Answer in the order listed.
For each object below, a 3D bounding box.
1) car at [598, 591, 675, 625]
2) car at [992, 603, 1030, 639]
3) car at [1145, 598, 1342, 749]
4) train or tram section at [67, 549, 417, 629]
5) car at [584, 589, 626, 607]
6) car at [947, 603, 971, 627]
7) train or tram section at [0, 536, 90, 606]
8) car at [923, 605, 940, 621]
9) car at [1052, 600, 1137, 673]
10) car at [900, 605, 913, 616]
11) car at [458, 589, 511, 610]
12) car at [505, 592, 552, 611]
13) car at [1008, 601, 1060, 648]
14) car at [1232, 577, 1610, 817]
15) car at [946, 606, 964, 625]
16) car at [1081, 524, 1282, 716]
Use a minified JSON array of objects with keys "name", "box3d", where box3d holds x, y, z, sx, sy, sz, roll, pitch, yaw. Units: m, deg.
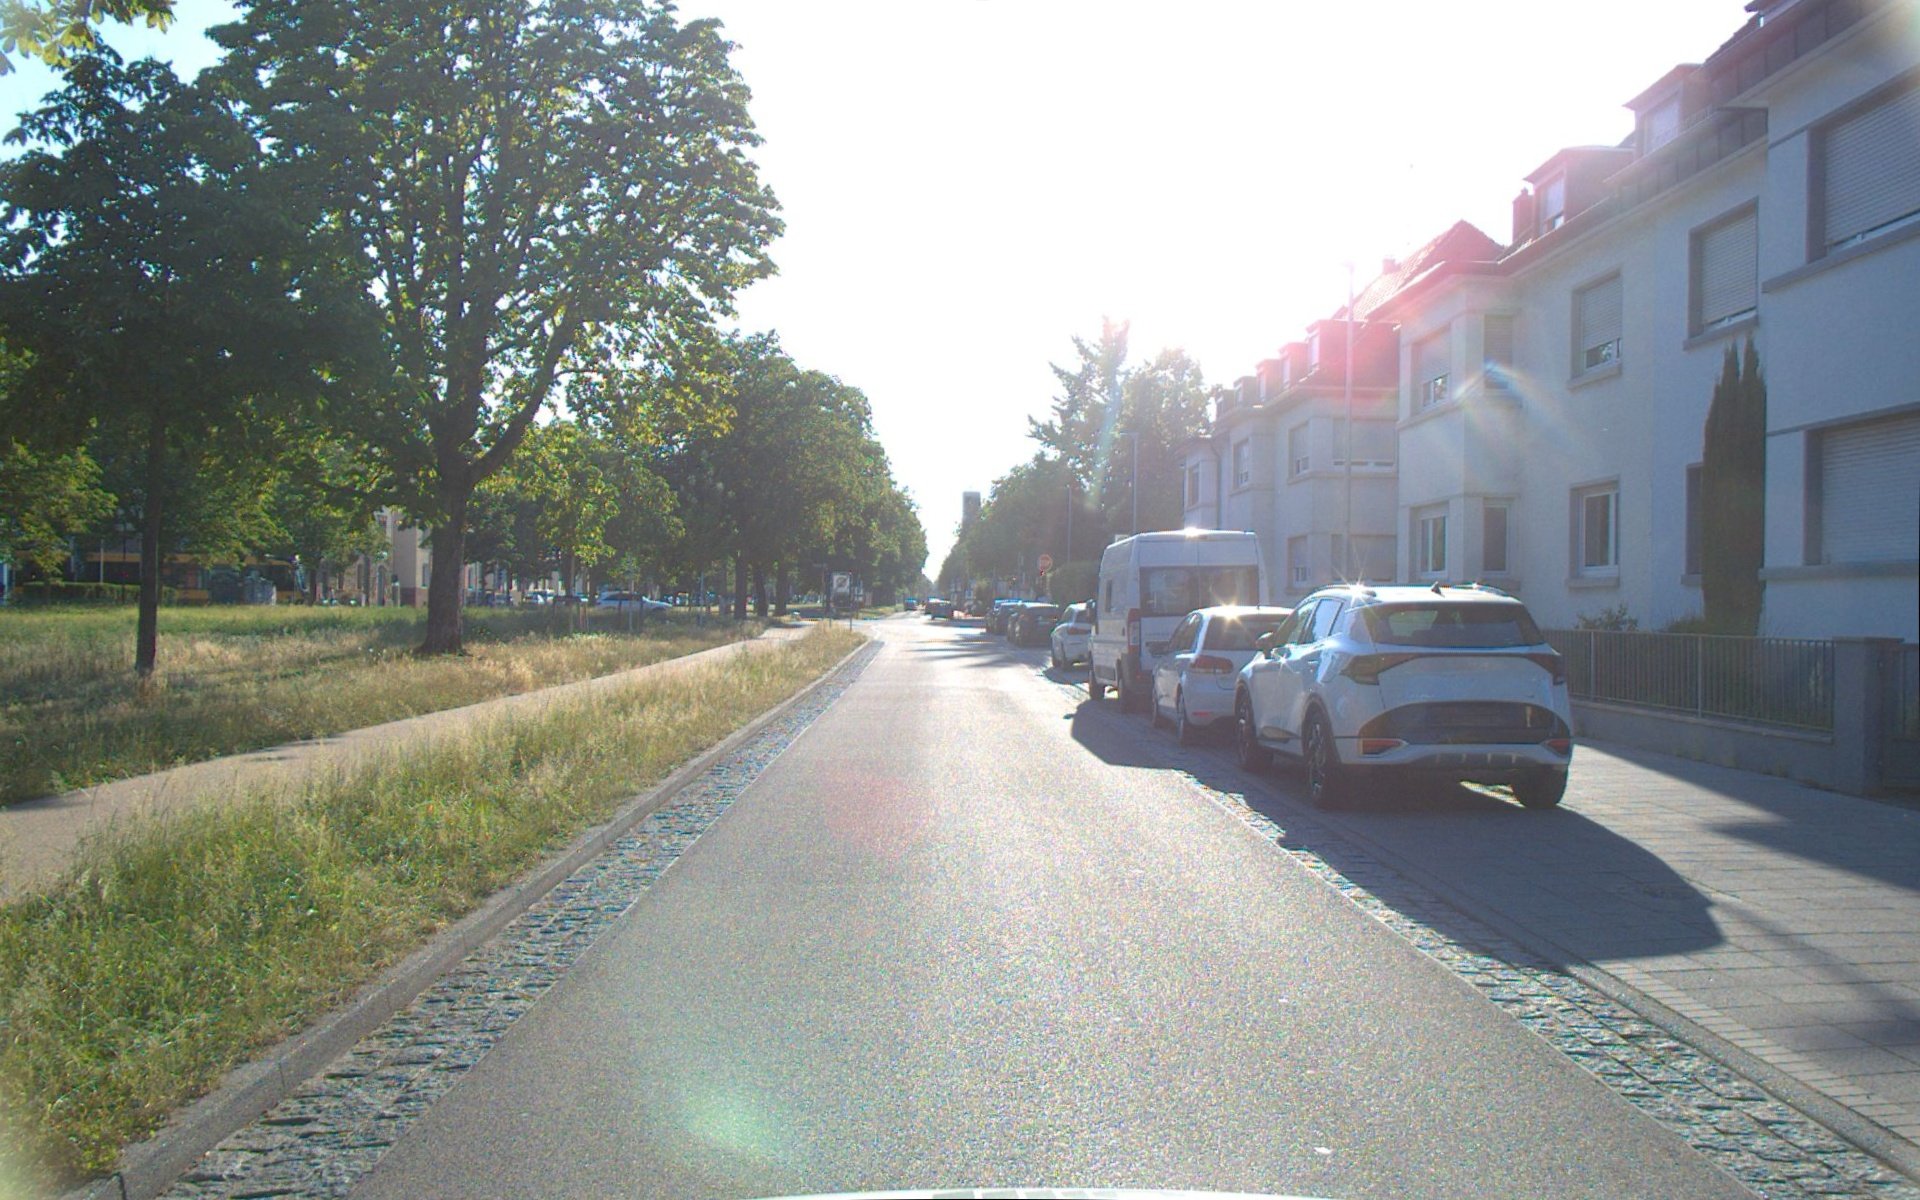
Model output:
[{"name":"car","box3d":[-19.038,0.488,97.478,4.266,1.795,1.995,2,-1,-10]},{"name":"car","box3d":[2.251,0.909,73.607,1.616,1.557,3.851,0,0,0]},{"name":"car","box3d":[3.157,0.763,19.088,1.616,1.557,3.851,0,0,0]},{"name":"train or tram section","box3d":[-44.155,-0.611,102.622,19.428,4.025,3.634,2,-1,-11]},{"name":"car","box3d":[-39.766,-0.191,185.405,4.257,1.795,2.000,2,-1,0]},{"name":"car","box3d":[-0.061,1.008,112.524,1.616,1.557,3.851,0,0,0]},{"name":"train or tram section","box3d":[-62.933,-2.024,98.997,18.728,4.025,3.634,2,-1,-11]},{"name":"car","box3d":[-2.838,1.305,164.699,1.616,1.557,3.851,0,0,0]},{"name":"car","box3d":[3.005,0.788,37.530,1.616,1.557,3.851,0,0,0]},{"name":"car","box3d":[-7.500,1.502,231.561,1.773,1.557,3.851,0,0,0]},{"name":"car","box3d":[-43.736,-0.055,152.189,4.257,1.795,2.000,2,-1,0]},{"name":"car","box3d":[-44.750,0.138,171.665,4.257,1.795,2.000,2,-1,0]},{"name":"car","box3d":[2.526,0.815,56.835,1.616,1.557,3.851,0,0,0]},{"name":"car","box3d":[3.561,0.669,13.593,1.800,1.664,4.129,0,0,-3]},{"name":"car","box3d":[-0.417,1.351,144.939,1.616,1.557,3.851,0,0,0]},{"name":"car","box3d":[3.172,0.271,24.868,2.084,2.577,5.185,0,0,-3]}]
